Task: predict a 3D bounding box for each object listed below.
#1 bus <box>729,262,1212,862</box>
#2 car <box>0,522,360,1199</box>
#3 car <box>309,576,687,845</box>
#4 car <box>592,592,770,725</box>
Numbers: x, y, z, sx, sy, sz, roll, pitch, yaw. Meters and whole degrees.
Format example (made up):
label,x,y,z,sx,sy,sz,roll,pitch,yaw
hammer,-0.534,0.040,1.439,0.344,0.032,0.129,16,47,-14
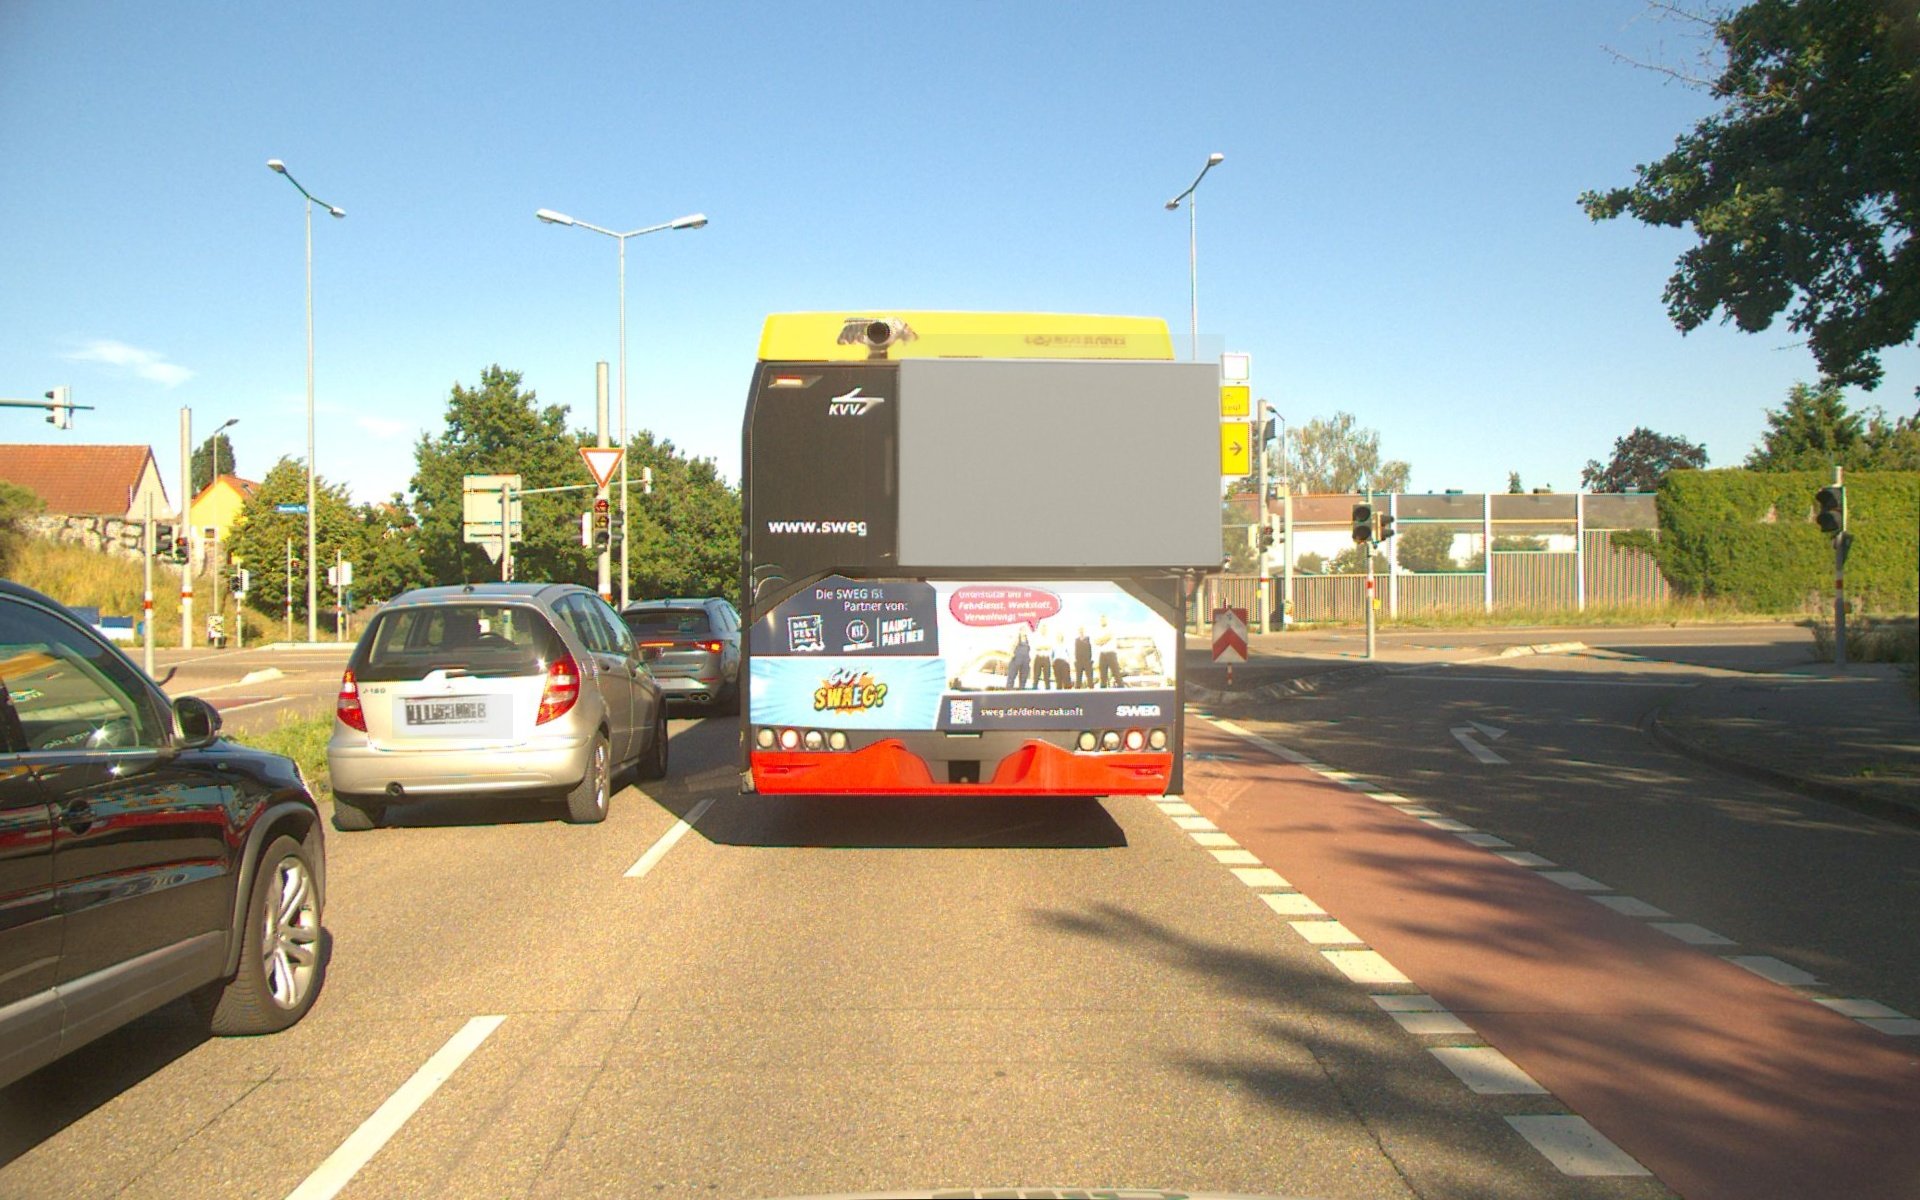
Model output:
label,x,y,z,sx,sy,sz,roll,pitch,yaw
bus,0.023,-0.255,14.885,2.589,3.222,11.860,0,0,0
car,-3.141,0.685,4.295,1.736,1.682,3.999,-2,0,-1
car,-3.214,0.679,12.329,1.725,1.617,3.999,-2,0,-1
car,-3.448,0.674,21.050,1.658,1.484,3.750,-2,0,-1
